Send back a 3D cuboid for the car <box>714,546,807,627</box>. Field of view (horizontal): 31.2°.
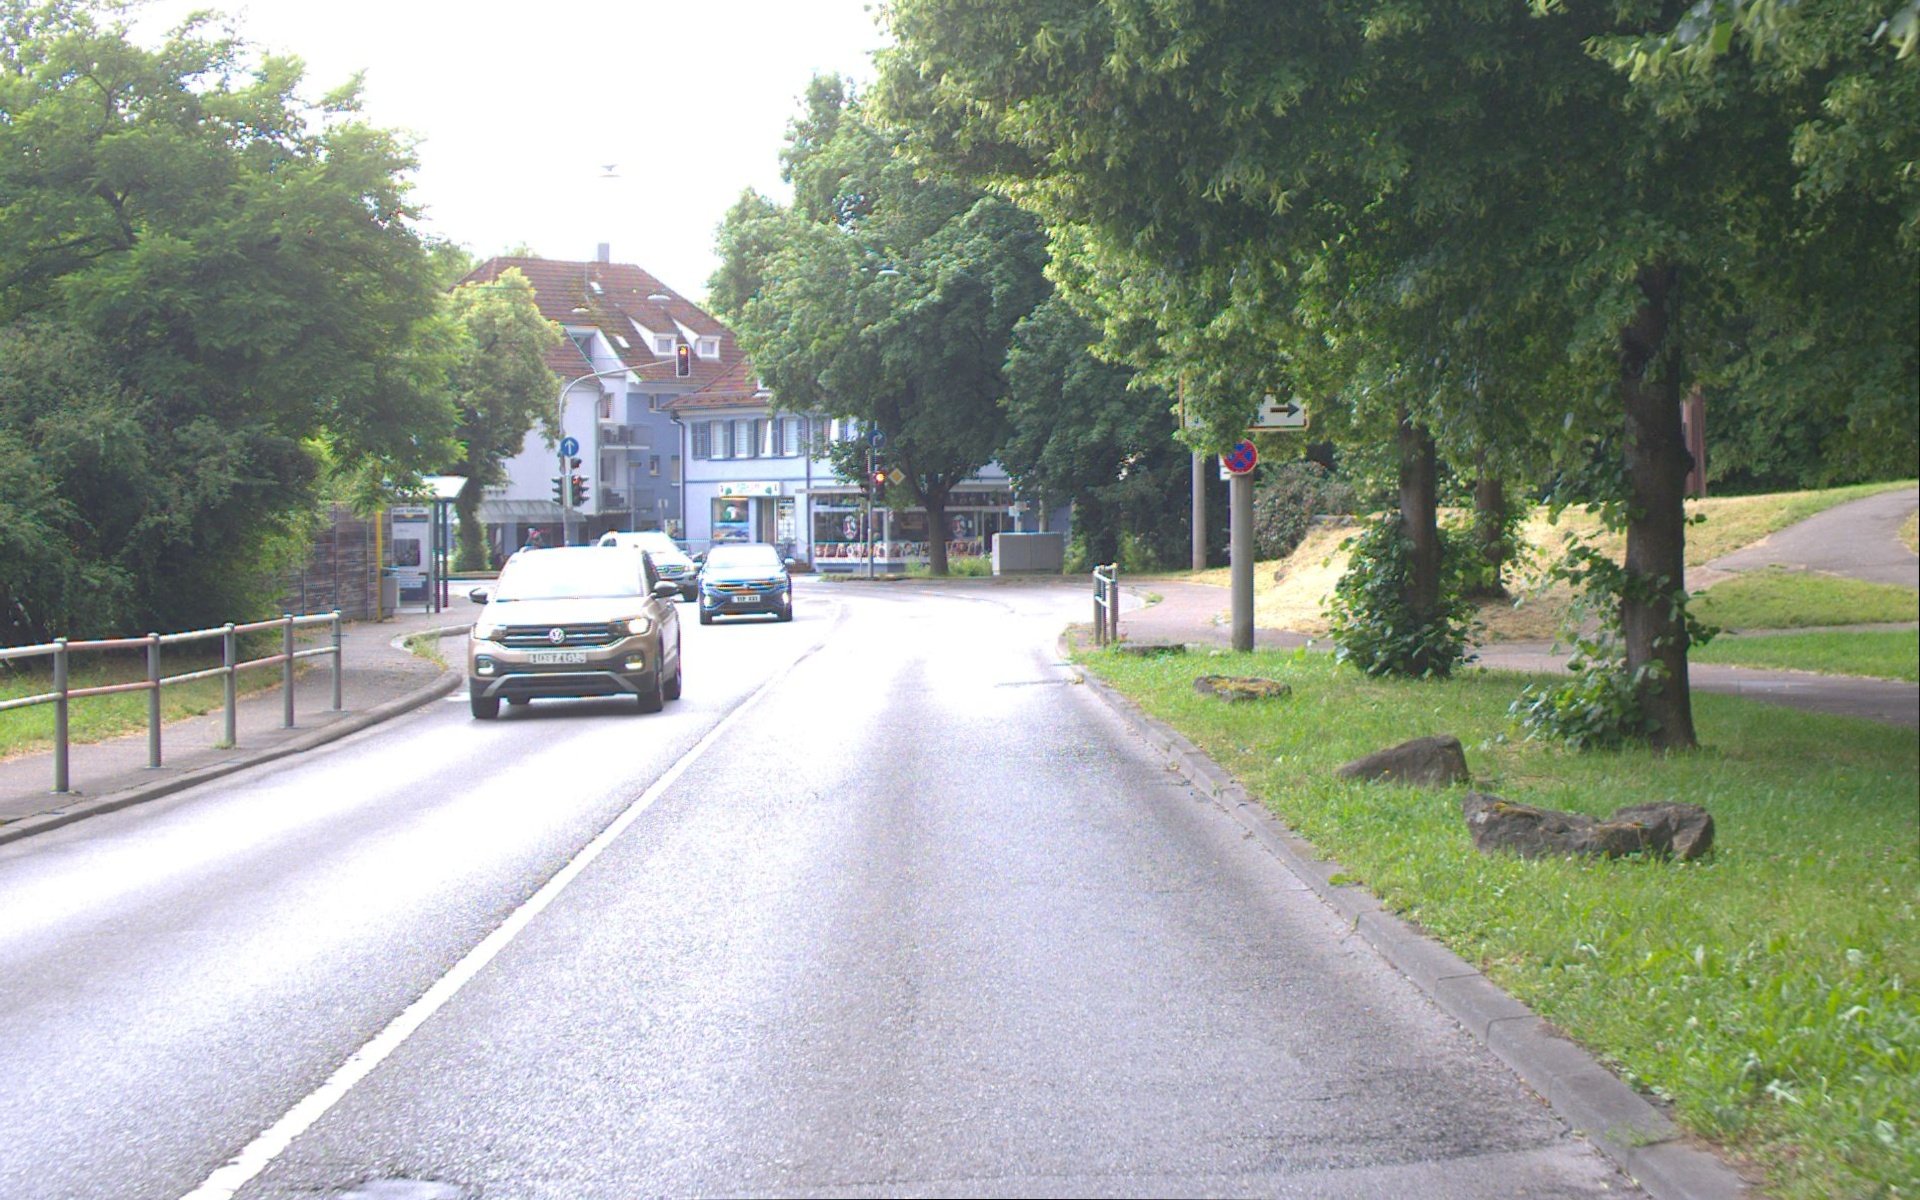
[{"bbox_3d":[-3.896,-0.287,67.547,1.716,1.463,4.100,-2,1,-2],"label":"car"}]

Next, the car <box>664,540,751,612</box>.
[{"bbox_3d":[-6.373,-0.634,87.158,1.935,1.718,4.692,-2,1,-2],"label":"car"}]

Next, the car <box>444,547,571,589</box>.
[{"bbox_3d":[-18.125,-1.289,137.721,4.580,1.512,1.999,-1,1,14],"label":"car"}]

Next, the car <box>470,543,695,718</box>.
[{"bbox_3d":[-3.534,0.245,32.781,1.704,1.506,4.000,-2,1,-1],"label":"car"}]
